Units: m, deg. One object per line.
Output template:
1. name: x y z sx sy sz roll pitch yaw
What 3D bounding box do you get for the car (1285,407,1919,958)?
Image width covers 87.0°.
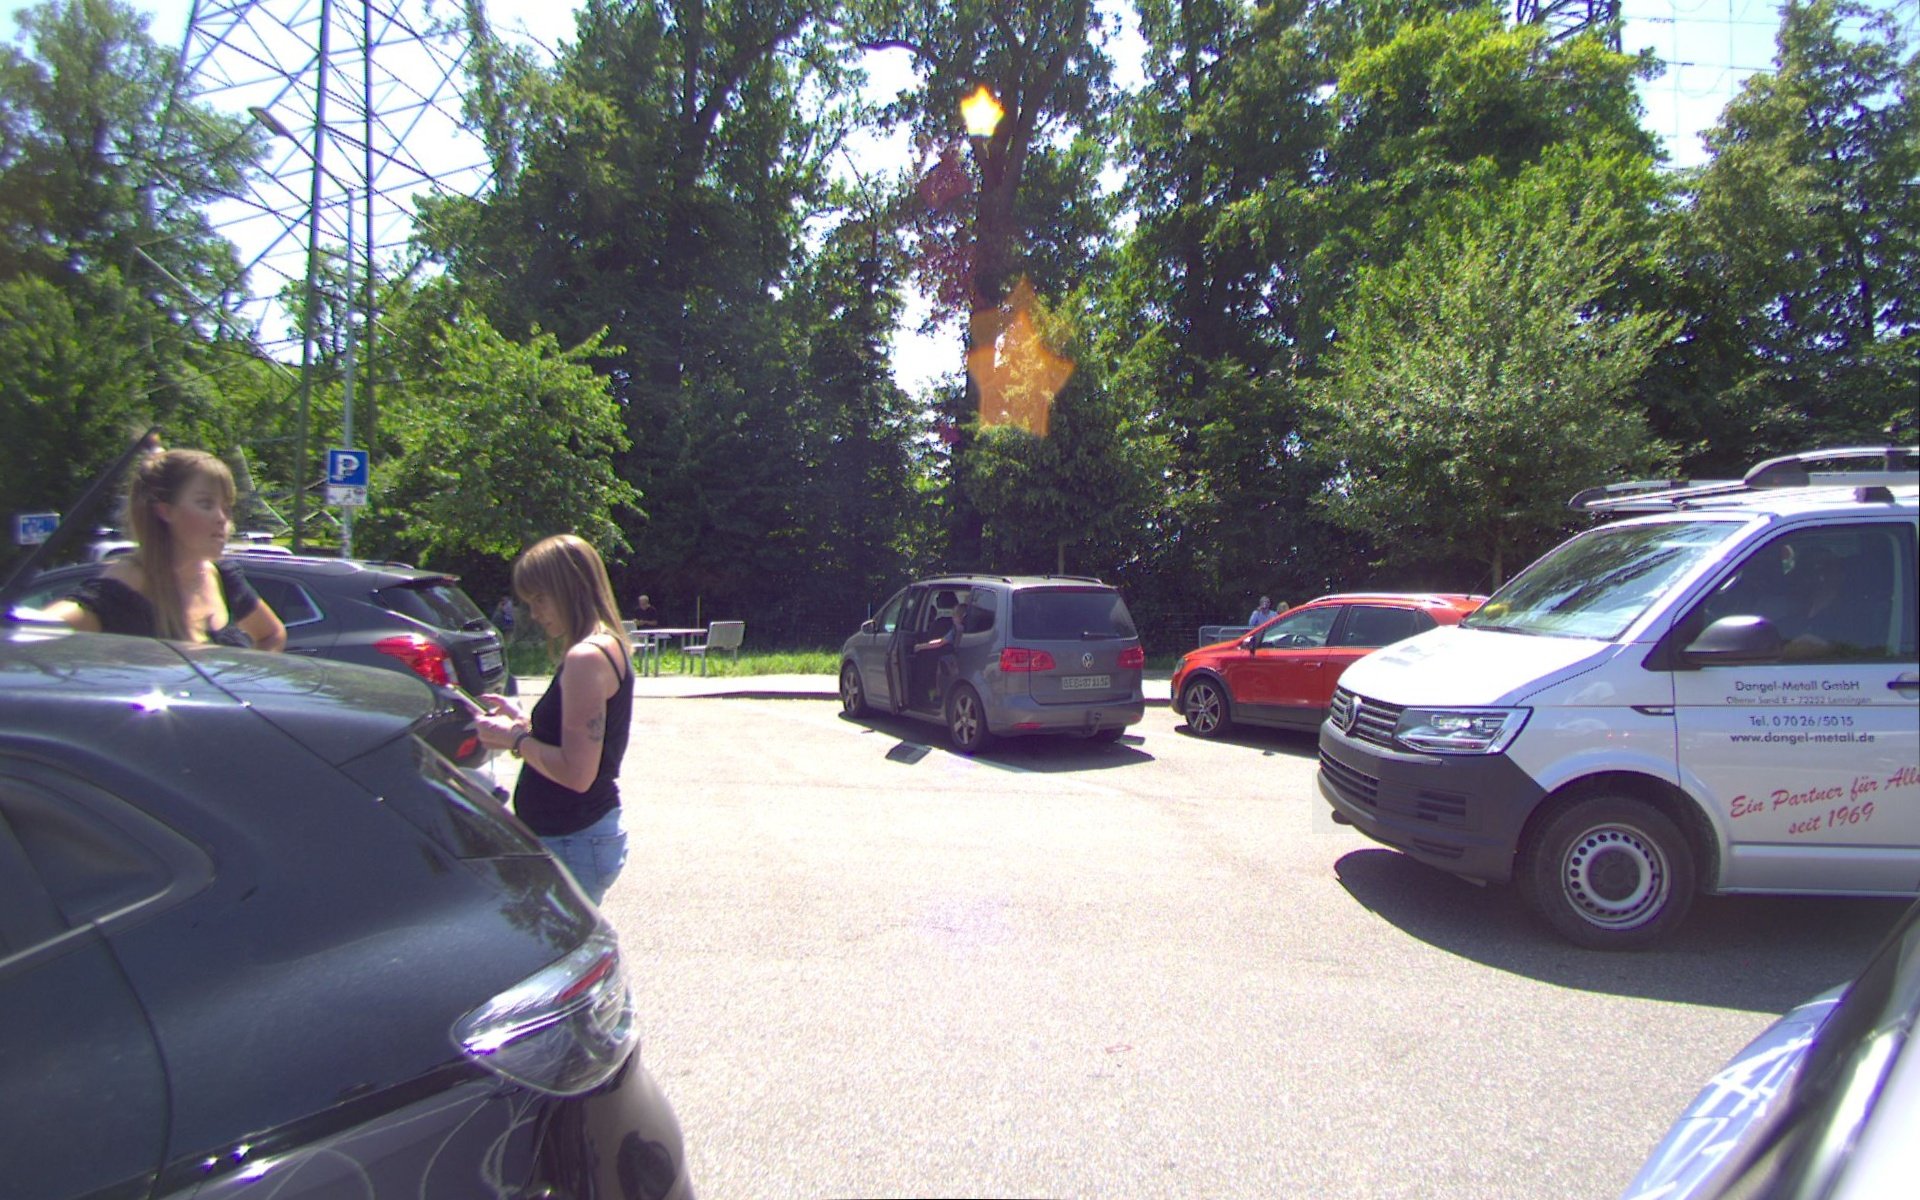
1. car: 4.513 0.335 4.937 5.219 2.177 1.997 1 -1 5

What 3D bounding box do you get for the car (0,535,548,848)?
1. car: -4.847 0.476 6.336 3.964 1.644 1.854 1 0 -14

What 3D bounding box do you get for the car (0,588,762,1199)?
1. car: -2.130 0.722 0.590 1.615 1.503 3.706 0 -1 44

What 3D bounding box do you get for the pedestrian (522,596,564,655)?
1. pedestrian: -9.717 0.592 23.580 0.722 1.343 0.669 1 -1 -39

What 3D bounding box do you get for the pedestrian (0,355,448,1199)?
1. pedestrian: -1.895 0.451 2.505 0.759 1.896 0.917 1 -1 0

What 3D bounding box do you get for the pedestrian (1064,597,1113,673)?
1. pedestrian: 2.133 0.582 16.860 0.660 1.235 0.682 1 -2 -5

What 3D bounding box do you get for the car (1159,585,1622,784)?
1. car: 3.844 0.610 9.645 1.604 1.476 3.810 0 1 -34

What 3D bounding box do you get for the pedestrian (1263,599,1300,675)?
1. pedestrian: 5.685 0.646 17.899 0.495 1.316 0.491 1 -1 0

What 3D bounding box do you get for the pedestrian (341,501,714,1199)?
1. pedestrian: -1.052 0.583 2.596 0.637 1.606 0.654 1 -1 3

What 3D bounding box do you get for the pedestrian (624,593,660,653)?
1. pedestrian: -6.688 0.473 21.306 0.550 1.229 0.599 1 -1 -1

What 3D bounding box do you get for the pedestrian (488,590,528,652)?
1. pedestrian: -10.949 0.500 24.517 0.722 1.478 0.669 1 -1 -39

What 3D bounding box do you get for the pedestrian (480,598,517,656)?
1. pedestrian: -10.437 0.607 22.883 0.630 1.287 0.579 1 -1 -39

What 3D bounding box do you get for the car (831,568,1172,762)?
1. car: 0.214 0.506 10.553 1.717 1.611 3.961 0 1 -30

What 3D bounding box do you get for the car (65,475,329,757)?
1. car: -8.069 0.096 10.629 1.885 2.353 4.089 0 1 -40

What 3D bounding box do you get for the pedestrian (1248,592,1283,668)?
1. pedestrian: 5.741 0.560 19.053 0.495 1.393 0.491 1 -1 0
